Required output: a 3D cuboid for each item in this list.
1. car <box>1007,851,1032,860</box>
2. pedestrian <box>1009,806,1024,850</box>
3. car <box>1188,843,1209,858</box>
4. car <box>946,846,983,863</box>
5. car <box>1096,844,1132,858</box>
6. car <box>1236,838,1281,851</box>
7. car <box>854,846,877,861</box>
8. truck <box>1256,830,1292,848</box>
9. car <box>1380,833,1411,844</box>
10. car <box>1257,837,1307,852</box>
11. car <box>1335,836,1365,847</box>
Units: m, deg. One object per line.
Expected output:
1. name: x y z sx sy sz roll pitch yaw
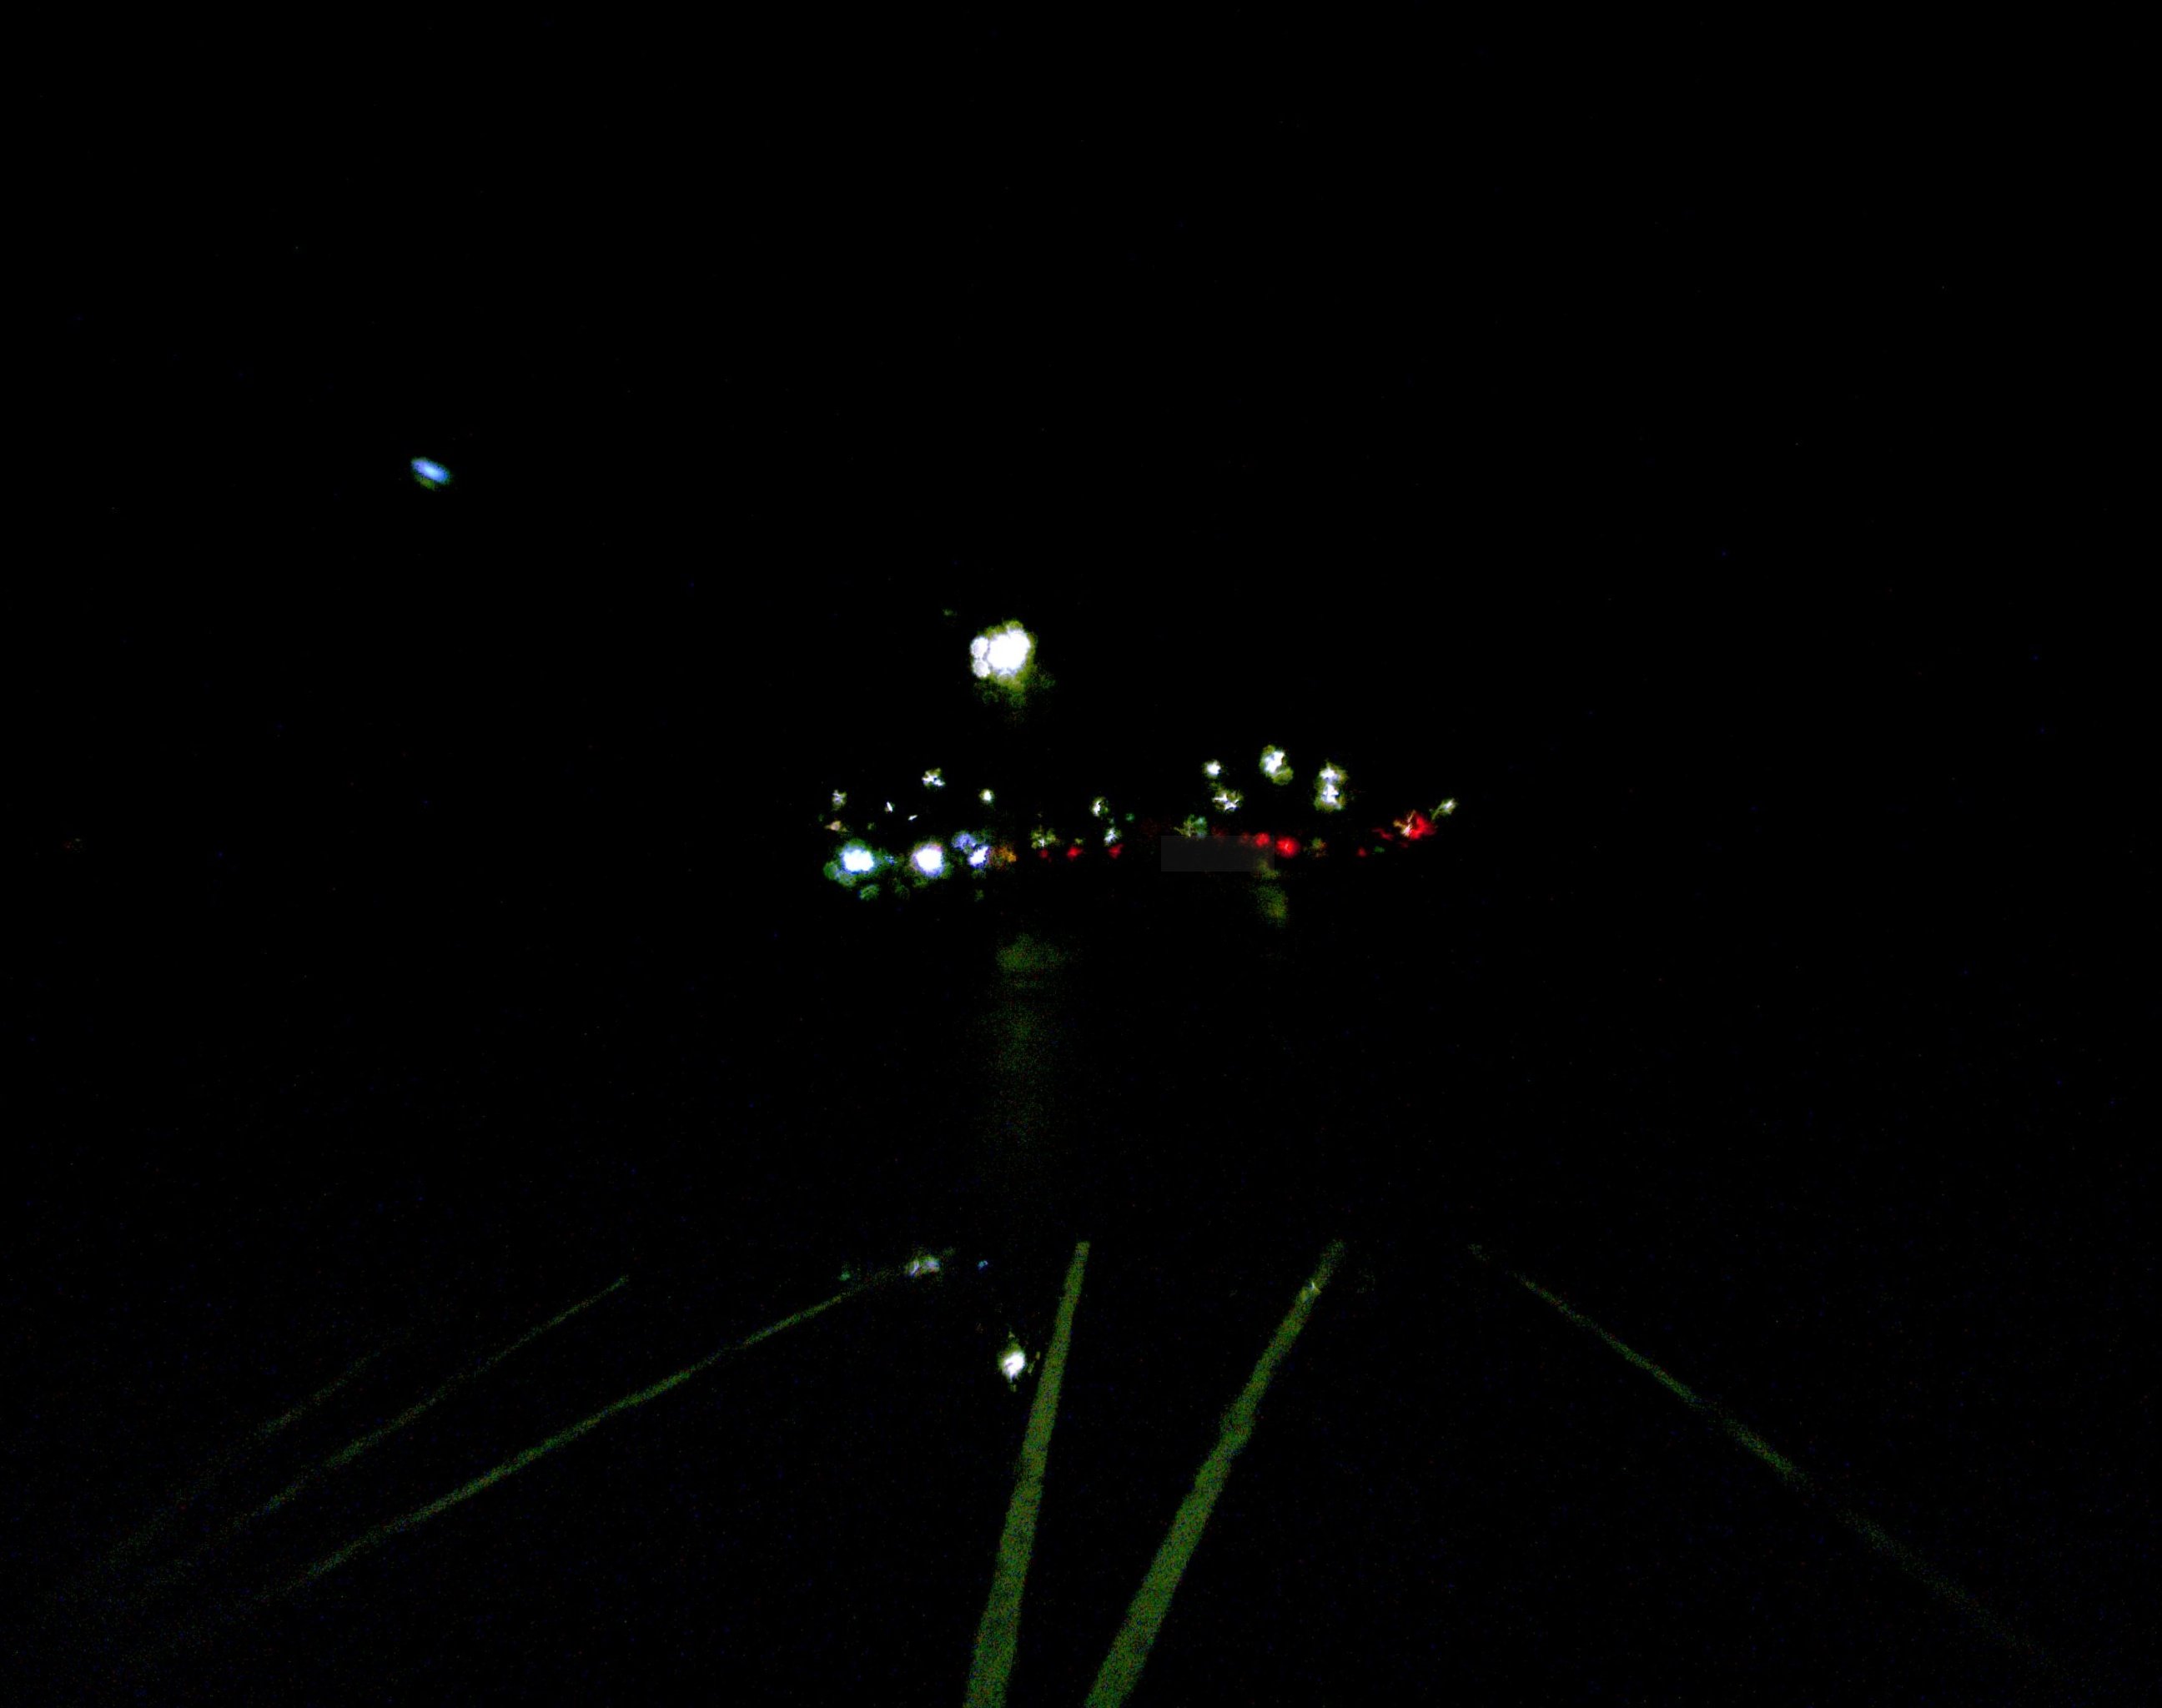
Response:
1. car: -11.666 0.246 143.789 4.191 1.458 1.995 -3 1 -30
2. pedestrian: -2.980 -1.177 34.925 0.550 2.002 0.742 -2 2 1
3. car: 12.056 -0.392 77.952 1.997 1.447 4.305 2 2 8
4. car: -13.581 0.058 88.224 3.988 1.775 2.004 0 2 39
5. car: 4.192 -0.337 96.787 4.430 1.612 1.999 -2 2 -4
6. car: 22.035 -1.184 94.290 5.104 1.458 1.996 -3 1 -22
7. car: -30.055 -0.081 105.992 1.998 2.002 3.999 -2 2 1
8. truck: 27.883 -2.156 109.606 2.316 2.383 7.827 0 2 35
9. car: 48.825 -2.356 117.936 4.420 1.612 2.003 -1 2 25
10. car: 27.293 -1.282 103.175 6.446 1.805 1.997 -2 2 -15
11. car: 43.600 -2.063 123.040 4.421 1.612 2.003 -2 1 25
